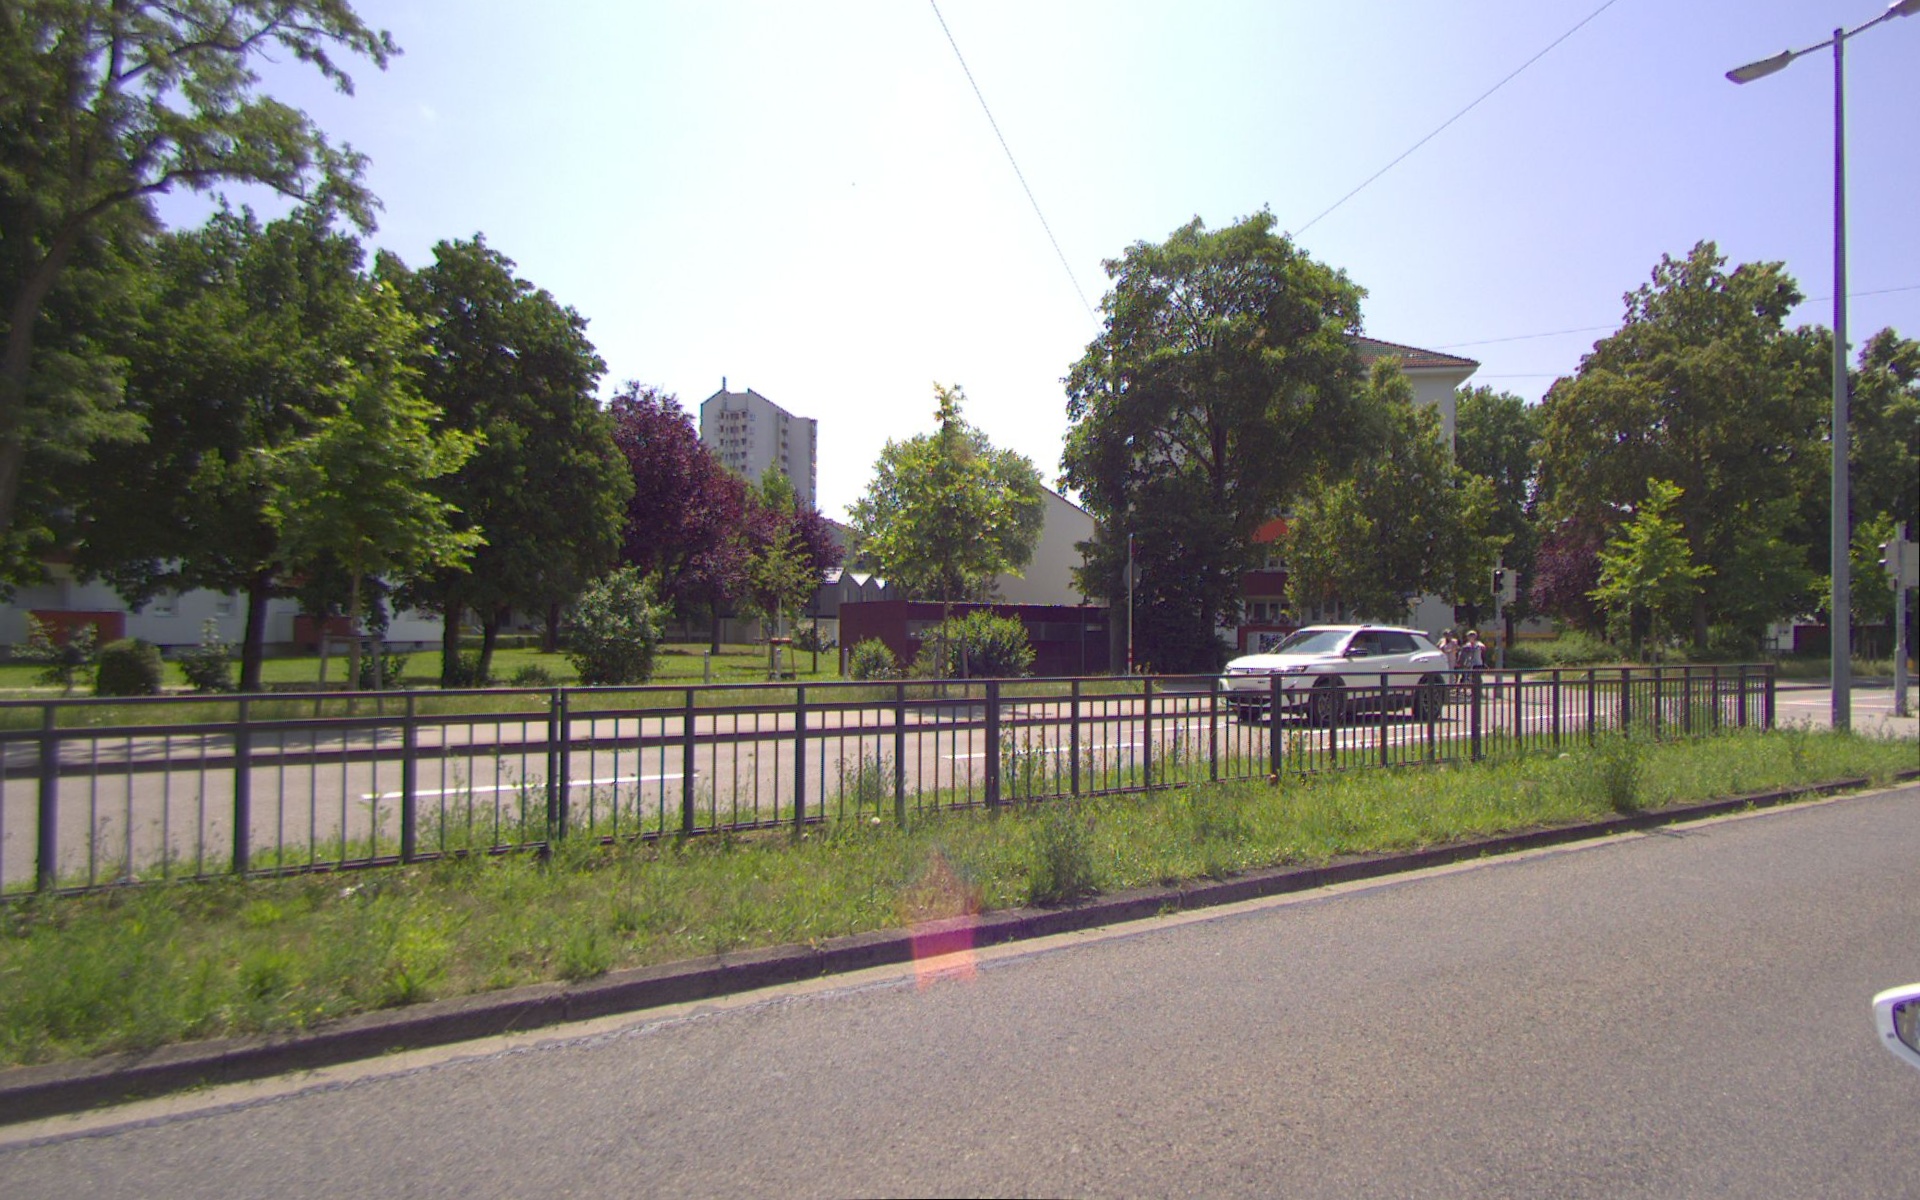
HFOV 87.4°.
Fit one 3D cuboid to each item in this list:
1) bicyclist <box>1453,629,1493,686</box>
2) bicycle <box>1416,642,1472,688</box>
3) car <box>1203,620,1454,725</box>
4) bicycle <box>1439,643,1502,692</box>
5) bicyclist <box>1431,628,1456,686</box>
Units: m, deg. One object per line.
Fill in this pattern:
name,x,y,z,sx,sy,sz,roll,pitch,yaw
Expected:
bicyclist,12.432,1.384,24.333,0.746,1.363,0.542,1,-2,-31
bicycle,12.115,1.620,25.132,1.363,1.109,0.551,2,-1,-29
car,6.368,1.206,17.232,4.299,1.593,1.811,3,-2,-32
bicycle,12.353,1.619,24.291,1.596,1.148,0.585,1,-2,-30
bicyclist,12.086,1.419,25.097,0.435,1.410,0.356,1,0,-27
